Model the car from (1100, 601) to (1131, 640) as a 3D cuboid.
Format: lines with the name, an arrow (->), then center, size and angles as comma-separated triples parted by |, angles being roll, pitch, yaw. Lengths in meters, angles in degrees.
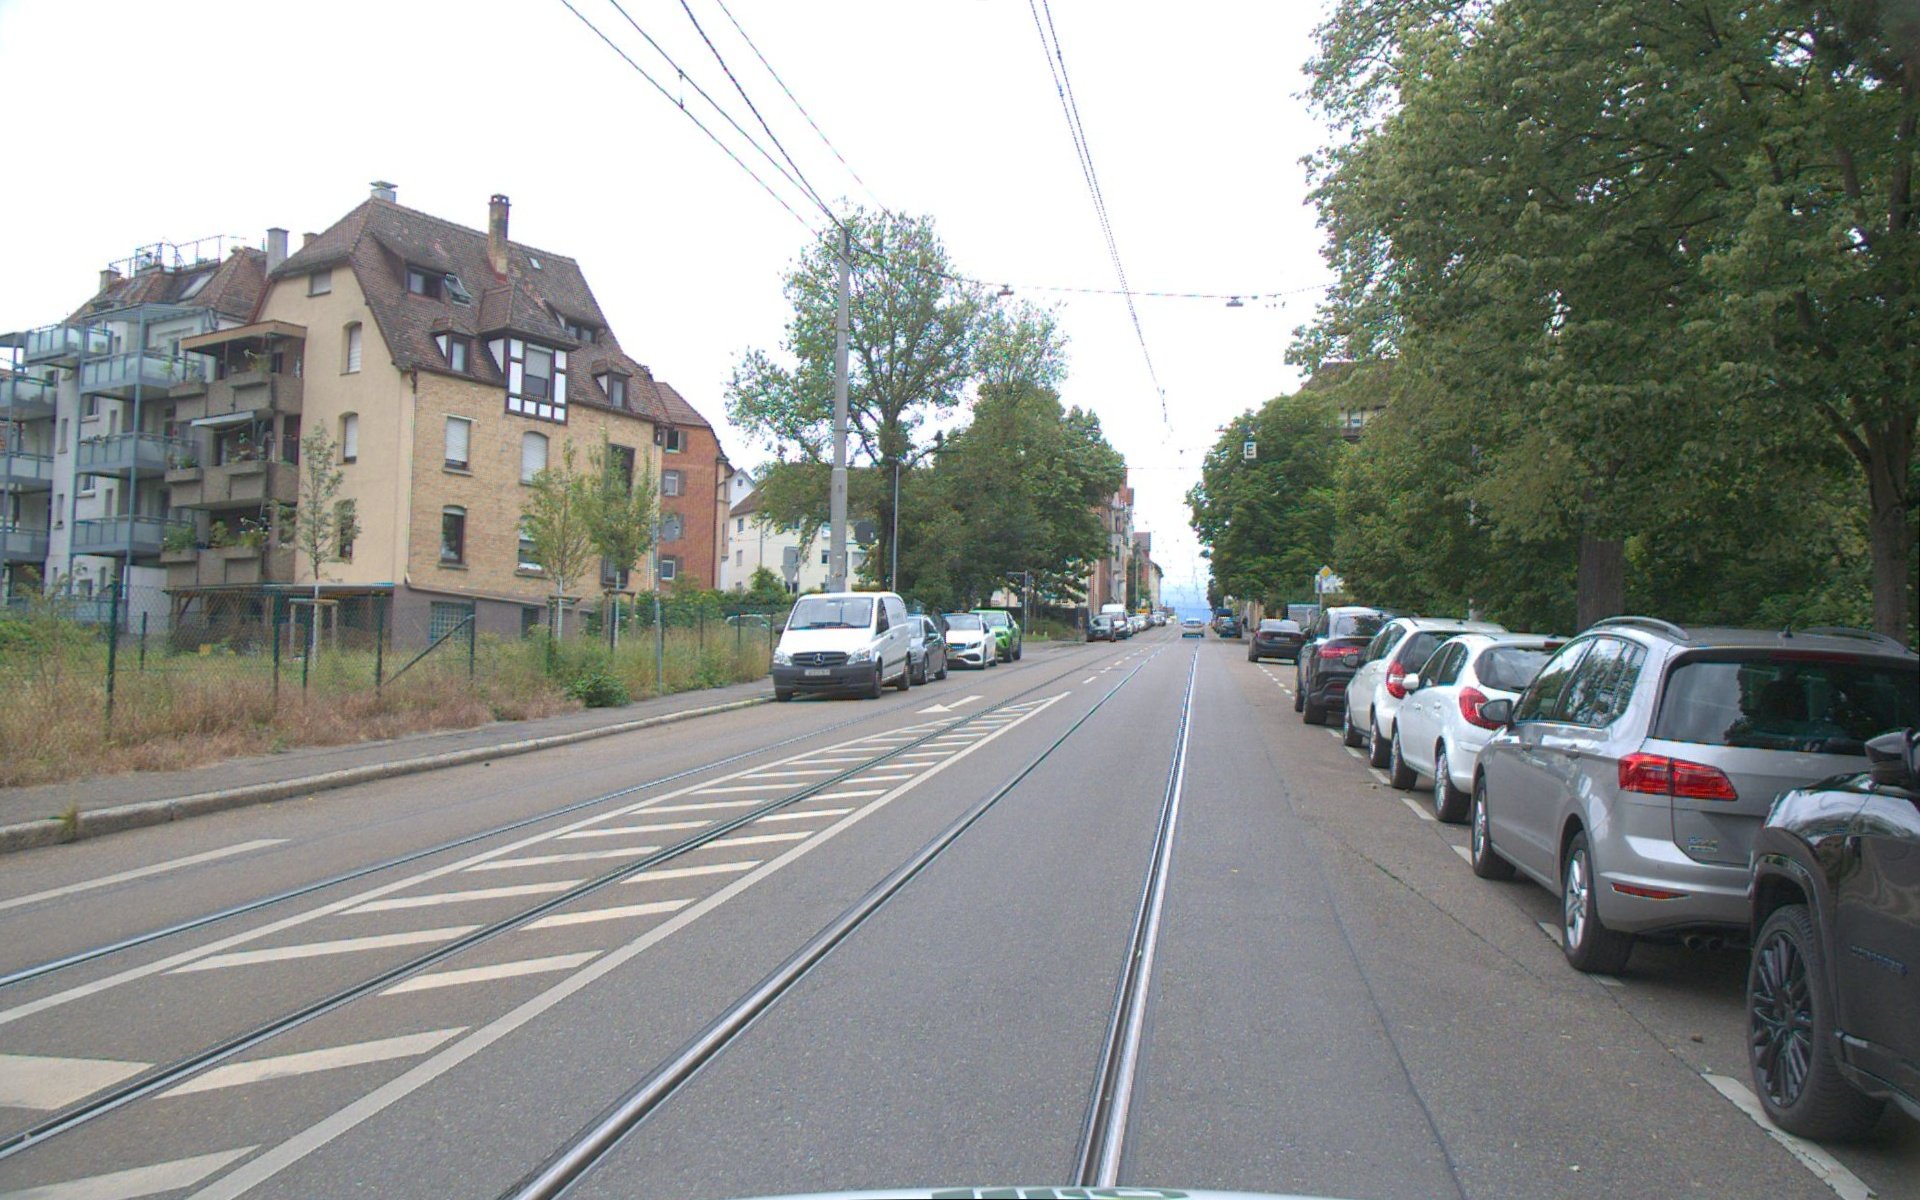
car -> 11.701, 1.591, 124.448 | 2.183, 2.813, 5.803 | 1, -1, 6

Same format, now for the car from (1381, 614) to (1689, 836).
car -> 4.775, 0.943, 14.294 | 1.595, 1.543, 4.067 | 3, 0, 7

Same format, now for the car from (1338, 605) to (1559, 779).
car -> 5.510, 0.963, 19.134 | 1.690, 1.659, 4.091 | 4, 0, 7

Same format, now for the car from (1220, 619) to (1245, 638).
car -> 22.642, 2.375, 137.392 | 1.951, 1.557, 4.315 | 1, -1, 10

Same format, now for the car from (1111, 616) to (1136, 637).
car -> 13.348, 2.199, 134.628 | 1.951, 1.628, 4.315 | 1, -1, 6

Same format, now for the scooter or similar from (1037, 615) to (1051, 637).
scooter or similar -> 5.399, 1.685, 105.717 | 0.676, 1.362, 1.640 | 1, -1, 9

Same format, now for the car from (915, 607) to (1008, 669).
car -> 0.108, 1.007, 44.464 | 1.845, 1.553, 4.667 | -1, -1, 8

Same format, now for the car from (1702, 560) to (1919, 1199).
car -> 3.323, 0.743, 3.747 | 1.863, 1.643, 4.603 | 2, 0, 10

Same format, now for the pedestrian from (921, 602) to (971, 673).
pedestrian -> -0.338, 0.885, 39.397 | 0.798, 1.657, 0.905 | 2, -2, -35

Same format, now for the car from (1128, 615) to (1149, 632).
car -> 18.130, 2.383, 167.836 | 1.883, 1.629, 4.003 | 1, -1, 9

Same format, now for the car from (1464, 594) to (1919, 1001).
car -> 3.920, 0.825, 8.802 | 1.697, 1.603, 4.368 | 1, -1, 8

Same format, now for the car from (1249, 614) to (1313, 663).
car -> 10.665, 1.275, 55.148 | 1.789, 1.455, 4.851 | 3, -1, 8

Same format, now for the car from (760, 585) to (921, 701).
car -> -2.101, 0.794, 30.565 | 1.992, 1.914, 4.888 | -2, -2, 7

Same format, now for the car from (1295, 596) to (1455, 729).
car -> 6.166, 0.871, 25.078 | 1.837, 1.707, 5.066 | 3, 0, 9

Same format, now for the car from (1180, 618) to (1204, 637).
car -> 19.050, 2.256, 135.721 | 1.951, 1.525, 4.315 | 1, -1, 8

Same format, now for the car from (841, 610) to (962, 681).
car -> -1.212, 0.961, 36.410 | 1.856, 1.458, 4.515 | -1, -1, 8

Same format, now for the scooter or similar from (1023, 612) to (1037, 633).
scooter or similar -> 4.493, 1.450, 105.936 | 0.676, 1.362, 1.640 | 1, -1, 9

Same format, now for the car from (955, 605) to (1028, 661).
car -> 0.993, 0.996, 50.062 | 1.686, 1.607, 4.184 | -1, -1, 9

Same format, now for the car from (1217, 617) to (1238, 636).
car -> 25.499, 2.564, 157.790 | 1.951, 1.747, 4.003 | 0, -1, 9

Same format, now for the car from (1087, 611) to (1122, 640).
car -> 9.663, 1.735, 110.082 | 1.951, 1.840, 4.003 | 1, -1, 10
